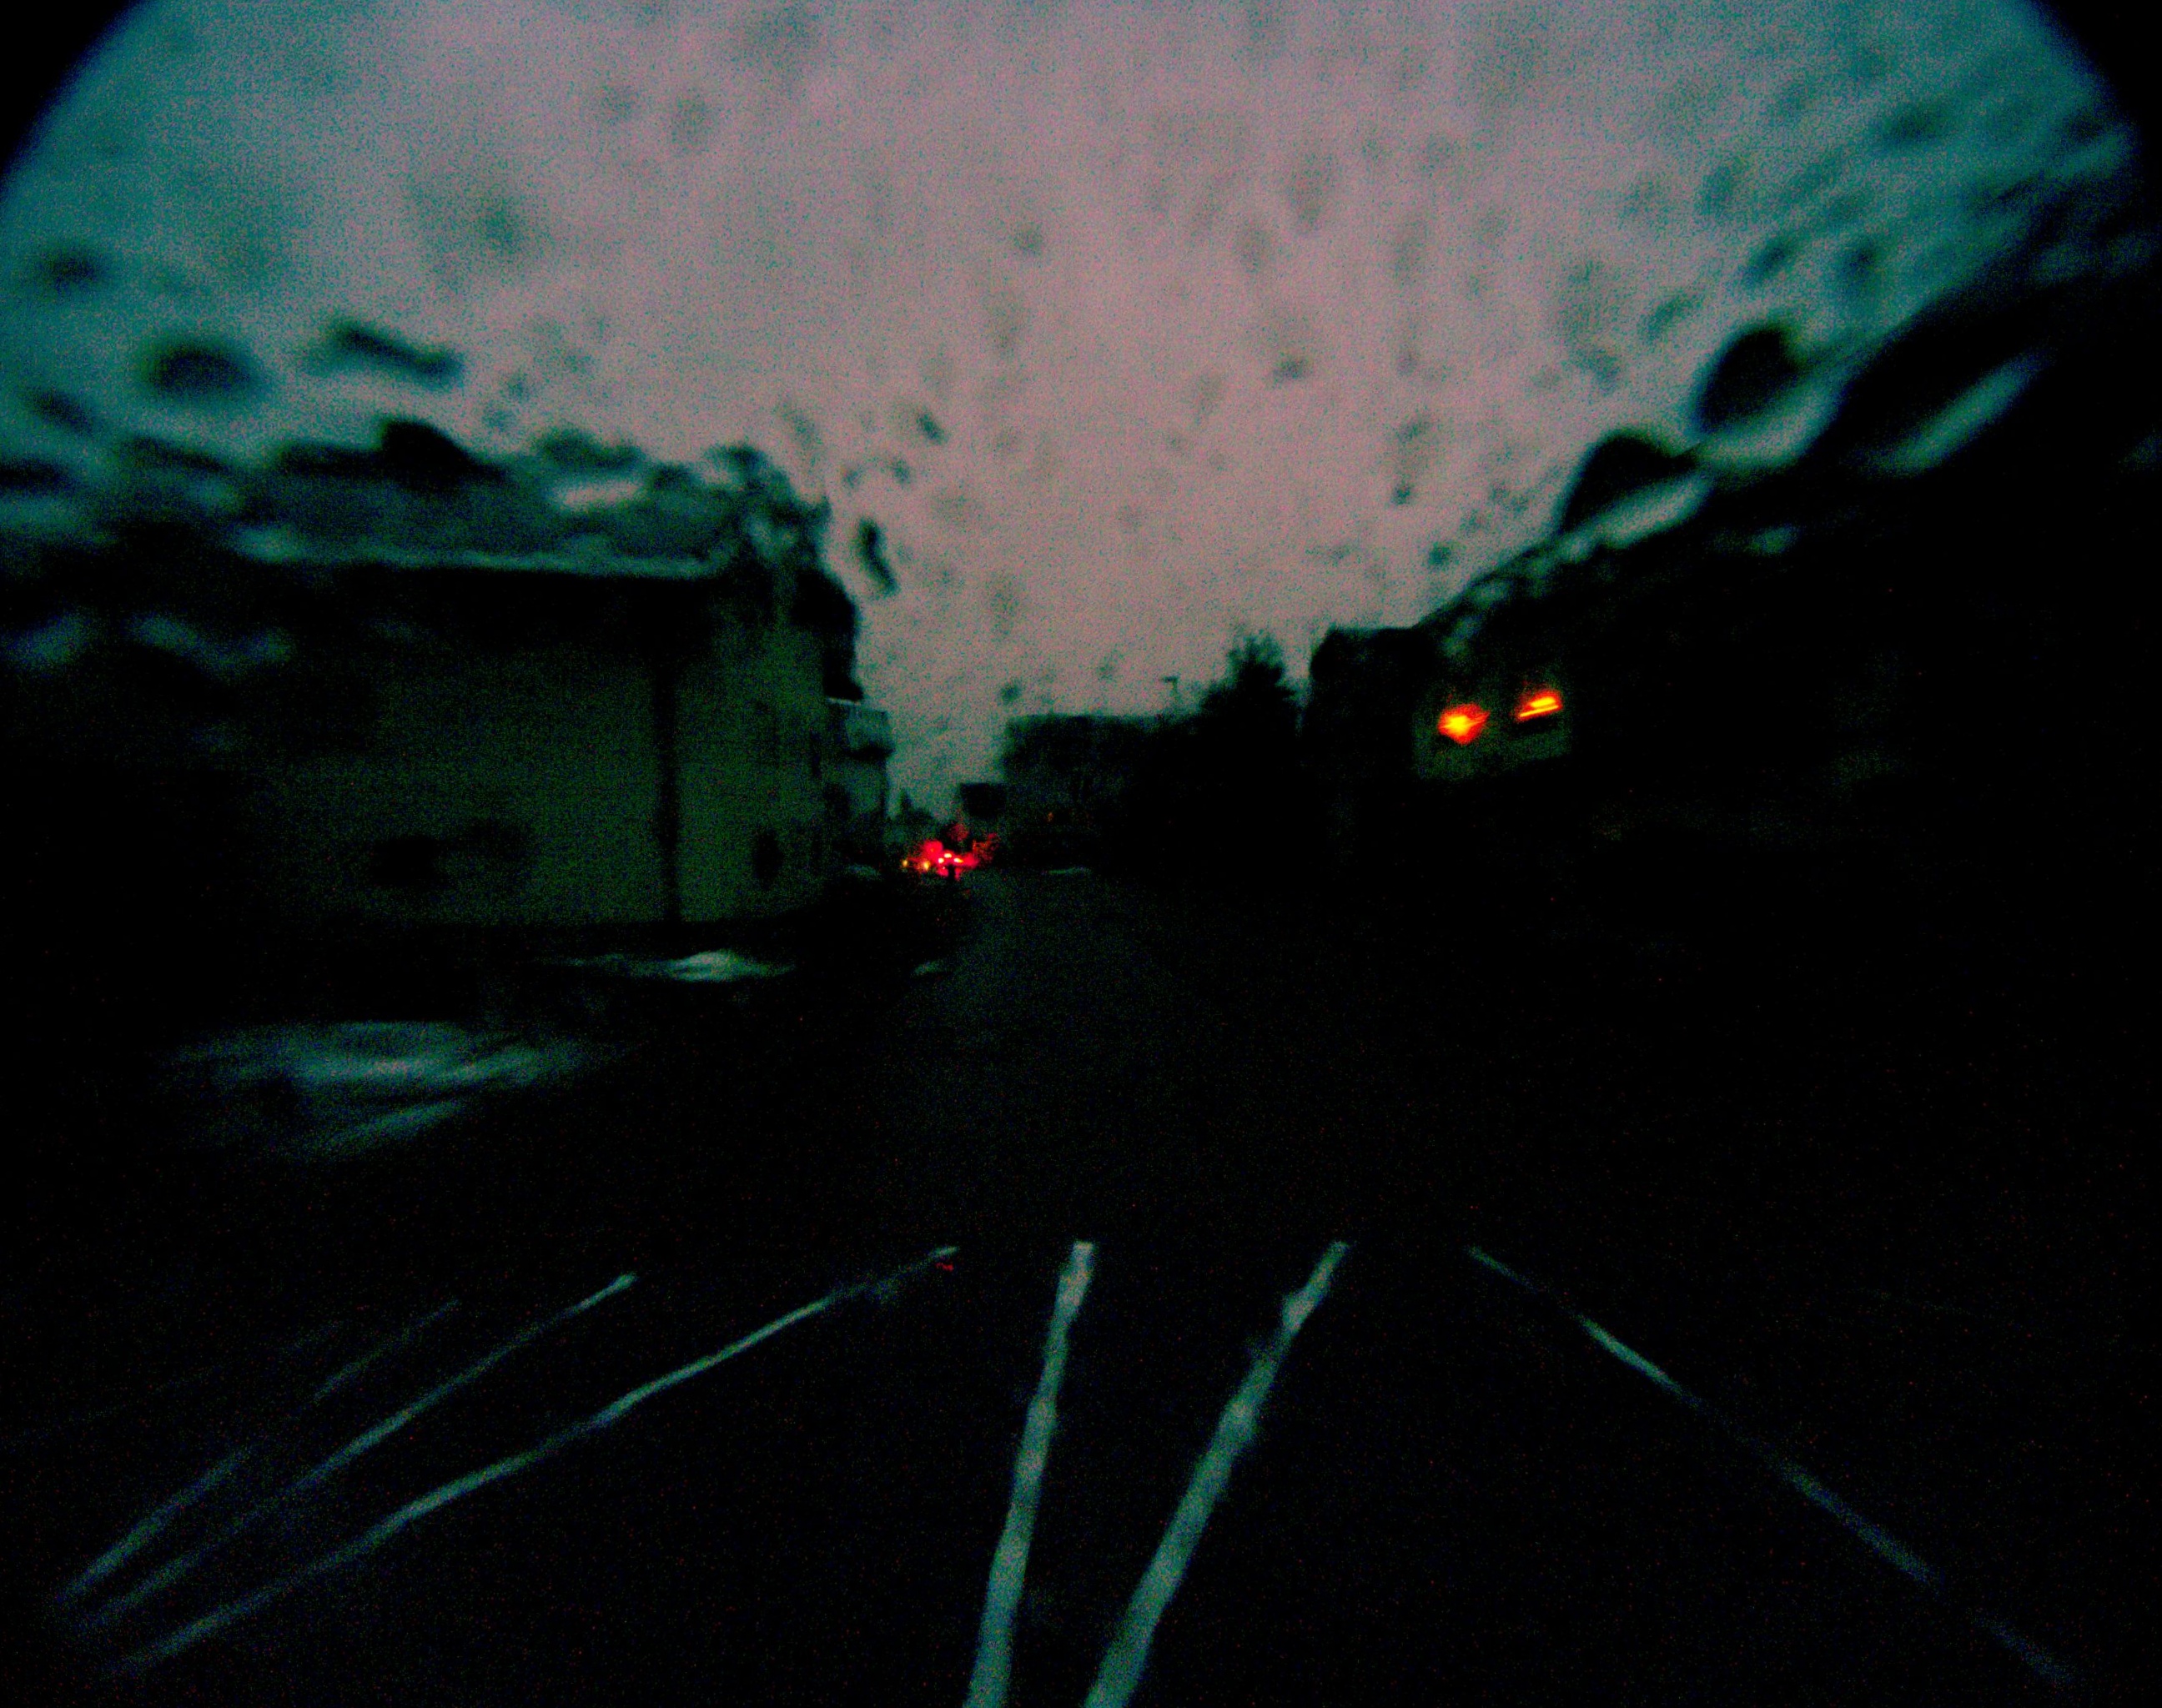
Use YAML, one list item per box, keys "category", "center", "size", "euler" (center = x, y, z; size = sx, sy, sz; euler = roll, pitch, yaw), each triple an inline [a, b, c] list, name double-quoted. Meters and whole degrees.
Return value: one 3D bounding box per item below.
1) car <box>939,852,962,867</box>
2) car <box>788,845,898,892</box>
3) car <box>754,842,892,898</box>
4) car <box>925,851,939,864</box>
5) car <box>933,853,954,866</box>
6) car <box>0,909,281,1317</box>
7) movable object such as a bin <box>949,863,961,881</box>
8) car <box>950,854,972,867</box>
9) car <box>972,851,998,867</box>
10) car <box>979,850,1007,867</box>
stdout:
- category: "car"
  center: [-13.791, 0.584, 80.368]
  size: [1.781, 1.486, 4.373]
  euler: [0, 0, -18]
- category: "car"
  center: [-9.588, 0.574, 30.727]
  size: [4.004, 1.448, 1.687]
  euler: [6, -1, -17]
- category: "car"
  center: [-8.976, 0.538, 26.766]
  size: [4.296, 1.448, 1.777]
  euler: [7, 0, -12]
- category: "car"
  center: [-22.092, 0.547, 112.409]
  size: [1.778, 1.781, 4.124]
  euler: [0, -1, -14]
- category: "car"
  center: [-17.900, 0.749, 98.745]
  size: [1.926, 1.614, 4.416]
  euler: [0, 0, -19]
- category: "car"
  center: [-6.268, 0.995, 2.740]
  size: [4.517, 1.435, 1.999]
  euler: [0, 0, -3]
- category: "movable object such as a bin"
  center: [-6.971, 0.968, 41.973]
  size: [0.616, 0.941, 0.594]
  euler: [2, 2, -12]
- category: "car"
  center: [-13.840, 0.717, 87.183]
  size: [1.741, 1.435, 4.432]
  euler: [-1, 0, -19]
- category: "car"
  center: [-9.008, 0.437, 70.919]
  size: [1.671, 1.409, 3.685]
  euler: [-3, 1, -19]
- category: "car"
  center: [-7.779, 0.372, 66.778]
  size: [1.674, 1.401, 3.908]
  euler: [-2, 0, -18]
